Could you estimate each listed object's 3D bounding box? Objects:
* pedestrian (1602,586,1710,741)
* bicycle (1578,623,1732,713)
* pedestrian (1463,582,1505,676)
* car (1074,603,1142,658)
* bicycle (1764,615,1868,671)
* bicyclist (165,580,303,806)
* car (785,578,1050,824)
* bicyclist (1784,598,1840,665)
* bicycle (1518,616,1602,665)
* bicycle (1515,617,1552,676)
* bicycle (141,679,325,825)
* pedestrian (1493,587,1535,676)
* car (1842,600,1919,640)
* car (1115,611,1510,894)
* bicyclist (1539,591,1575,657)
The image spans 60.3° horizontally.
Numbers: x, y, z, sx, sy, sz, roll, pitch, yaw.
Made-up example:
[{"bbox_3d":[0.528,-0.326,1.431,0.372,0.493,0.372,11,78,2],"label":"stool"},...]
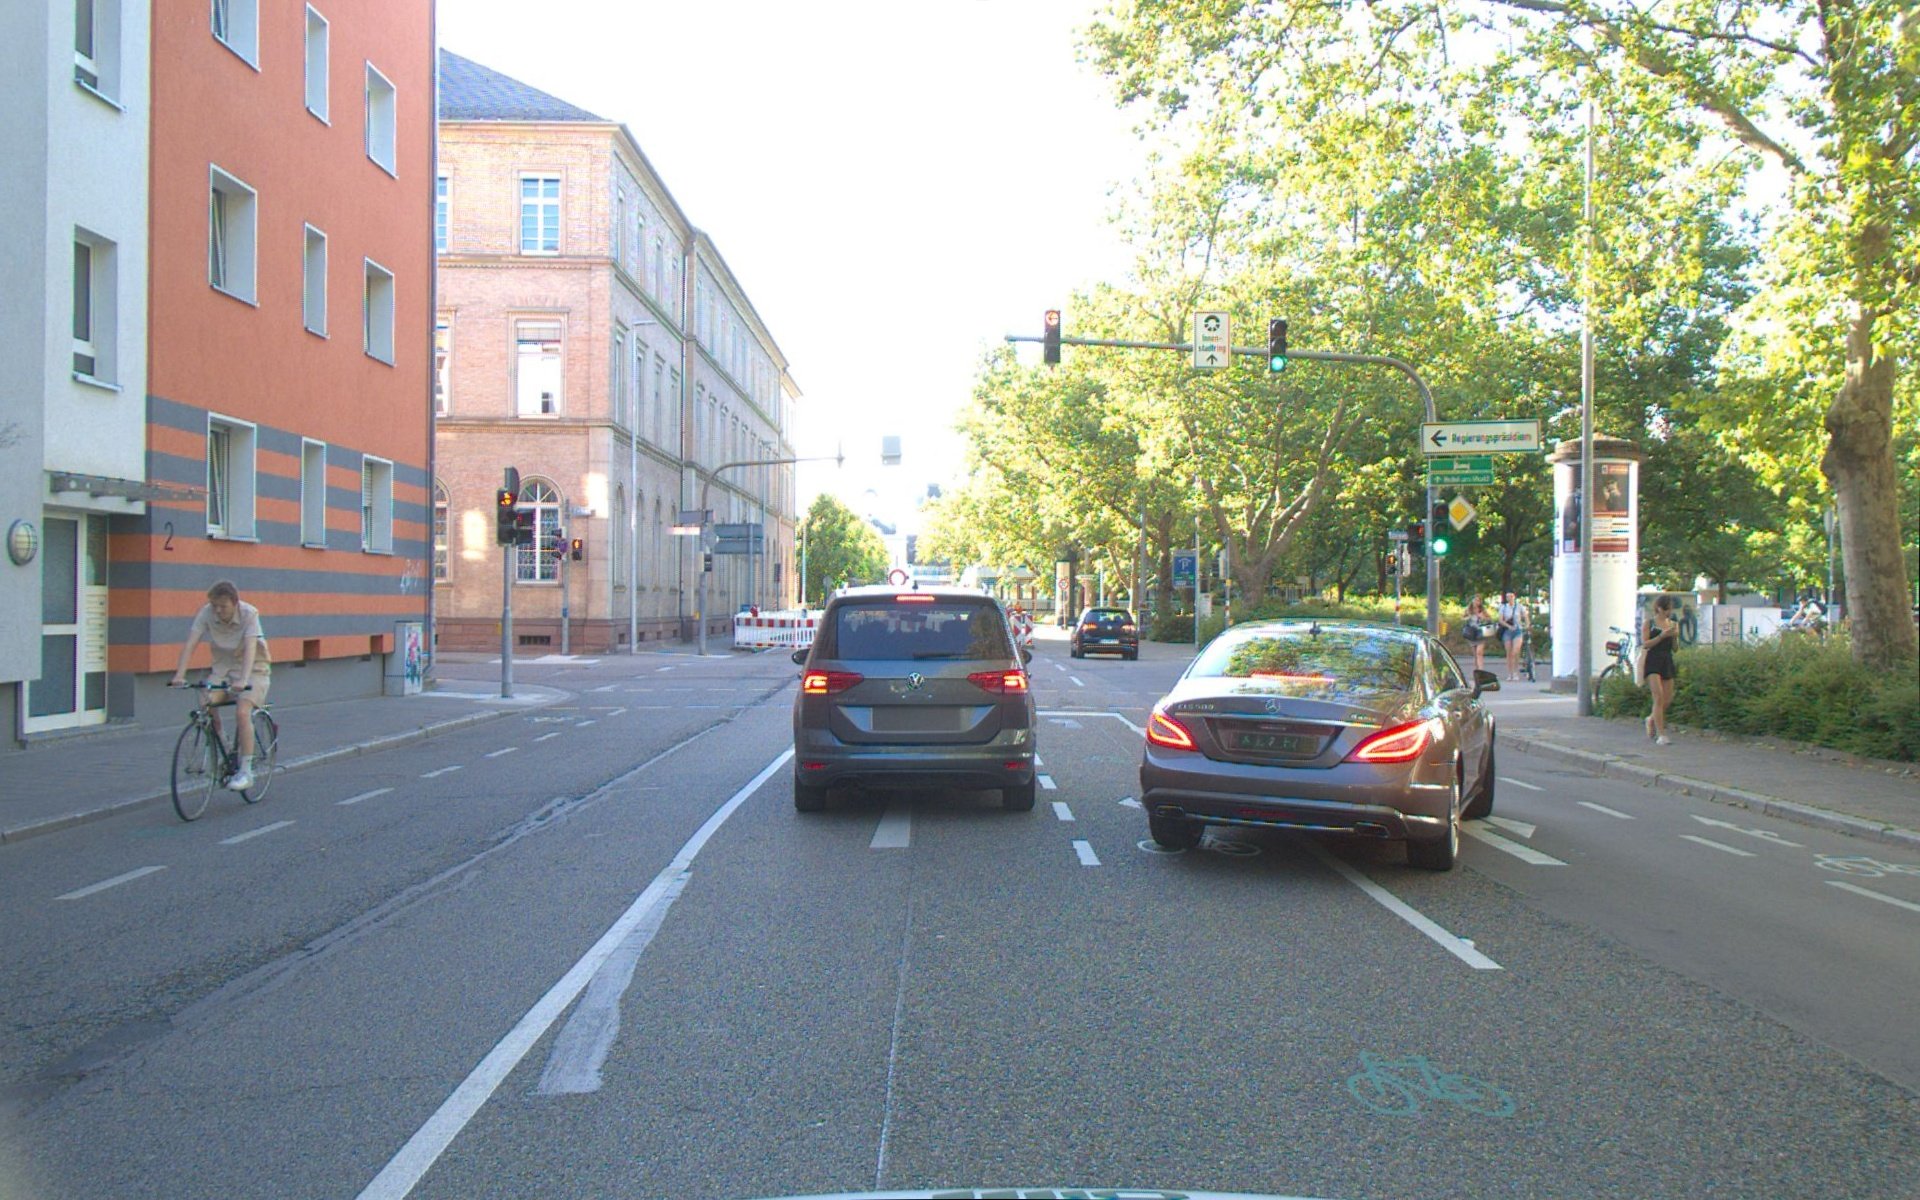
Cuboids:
[{"bbox_3d":[7.705,0.697,18.347,0.782,1.659,0.907,-1,-1,0],"label":"pedestrian"},{"bbox_3d":[9.705,0.942,23.125,1.936,1.210,0.528,1,-1,-2],"label":"bicycle"},{"bbox_3d":[10.427,0.575,32.962,0.716,1.840,0.910,-1,-2,14],"label":"pedestrian"},{"bbox_3d":[4.167,0.837,46.934,1.654,1.465,3.902,1,0,2],"label":"car"},{"bbox_3d":[21.235,1.065,41.062,2.242,1.349,0.660,1,-1,0],"label":"bicycle"},{"bbox_3d":[-5.284,0.658,12.081,0.635,1.586,0.806,1,-1,-2],"label":"bicyclist"},{"bbox_3d":[-0.256,0.687,13.084,1.772,1.641,4.000,0,0,1],"label":"car"},{"bbox_3d":[21.155,0.772,41.084,0.944,1.644,0.870,1,-1,1],"label":"bicyclist"},{"bbox_3d":[15.859,1.062,43.720,1.989,1.242,0.599,1,-1,-1],"label":"bicycle"},{"bbox_3d":[11.291,0.905,32.570,0.513,1.119,1.742,1,0,14],"label":"bicycle"},{"bbox_3d":[-5.302,1.076,12.174,0.537,0.906,1.867,1,0,-1],"label":"bicycle"},{"bbox_3d":[10.939,0.620,32.678,0.668,1.727,0.971,1,-1,14],"label":"pedestrian"},{"bbox_3d":[36.266,0.779,64.519,1.596,1.508,3.794,1,0,-2],"label":"car"},{"bbox_3d":[2.572,0.826,11.090,1.805,1.454,4.516,1,0,22],"label":"car"},{"bbox_3d":[15.791,0.634,43.746,0.695,1.727,0.675,1,-1,-1],"label":"bicyclist"}]
